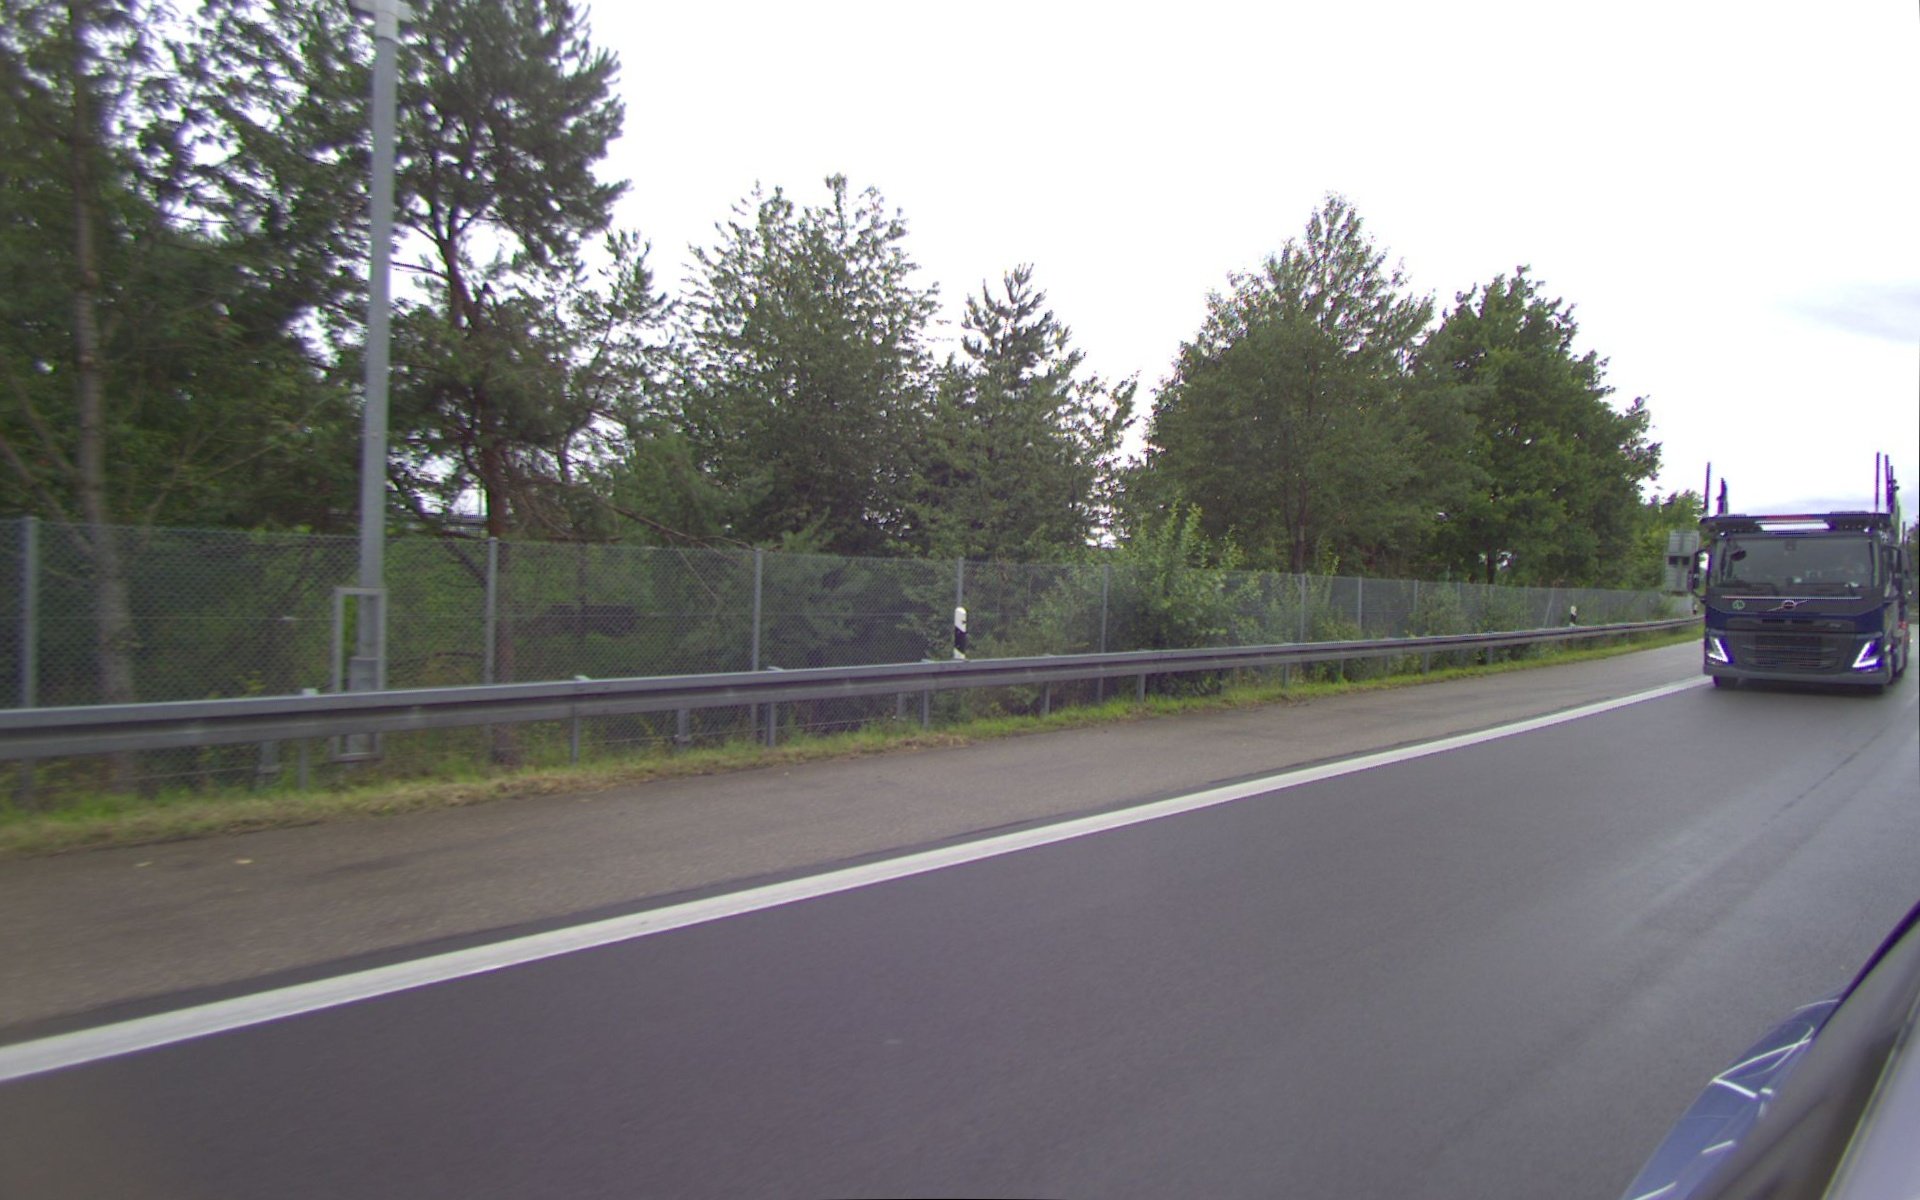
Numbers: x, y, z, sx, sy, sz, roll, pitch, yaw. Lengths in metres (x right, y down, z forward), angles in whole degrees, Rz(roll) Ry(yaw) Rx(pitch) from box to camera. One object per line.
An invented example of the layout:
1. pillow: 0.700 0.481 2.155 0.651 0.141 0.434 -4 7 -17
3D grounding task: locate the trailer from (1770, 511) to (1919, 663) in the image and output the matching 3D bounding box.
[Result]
1. trailer: 23.762 -0.299 26.571 2.779 3.326 10.238 2 1 45

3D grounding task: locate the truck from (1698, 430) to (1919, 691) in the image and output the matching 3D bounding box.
1. truck: 16.917 -0.571 19.720 8.979 4.018 2.740 1 -1 -45
